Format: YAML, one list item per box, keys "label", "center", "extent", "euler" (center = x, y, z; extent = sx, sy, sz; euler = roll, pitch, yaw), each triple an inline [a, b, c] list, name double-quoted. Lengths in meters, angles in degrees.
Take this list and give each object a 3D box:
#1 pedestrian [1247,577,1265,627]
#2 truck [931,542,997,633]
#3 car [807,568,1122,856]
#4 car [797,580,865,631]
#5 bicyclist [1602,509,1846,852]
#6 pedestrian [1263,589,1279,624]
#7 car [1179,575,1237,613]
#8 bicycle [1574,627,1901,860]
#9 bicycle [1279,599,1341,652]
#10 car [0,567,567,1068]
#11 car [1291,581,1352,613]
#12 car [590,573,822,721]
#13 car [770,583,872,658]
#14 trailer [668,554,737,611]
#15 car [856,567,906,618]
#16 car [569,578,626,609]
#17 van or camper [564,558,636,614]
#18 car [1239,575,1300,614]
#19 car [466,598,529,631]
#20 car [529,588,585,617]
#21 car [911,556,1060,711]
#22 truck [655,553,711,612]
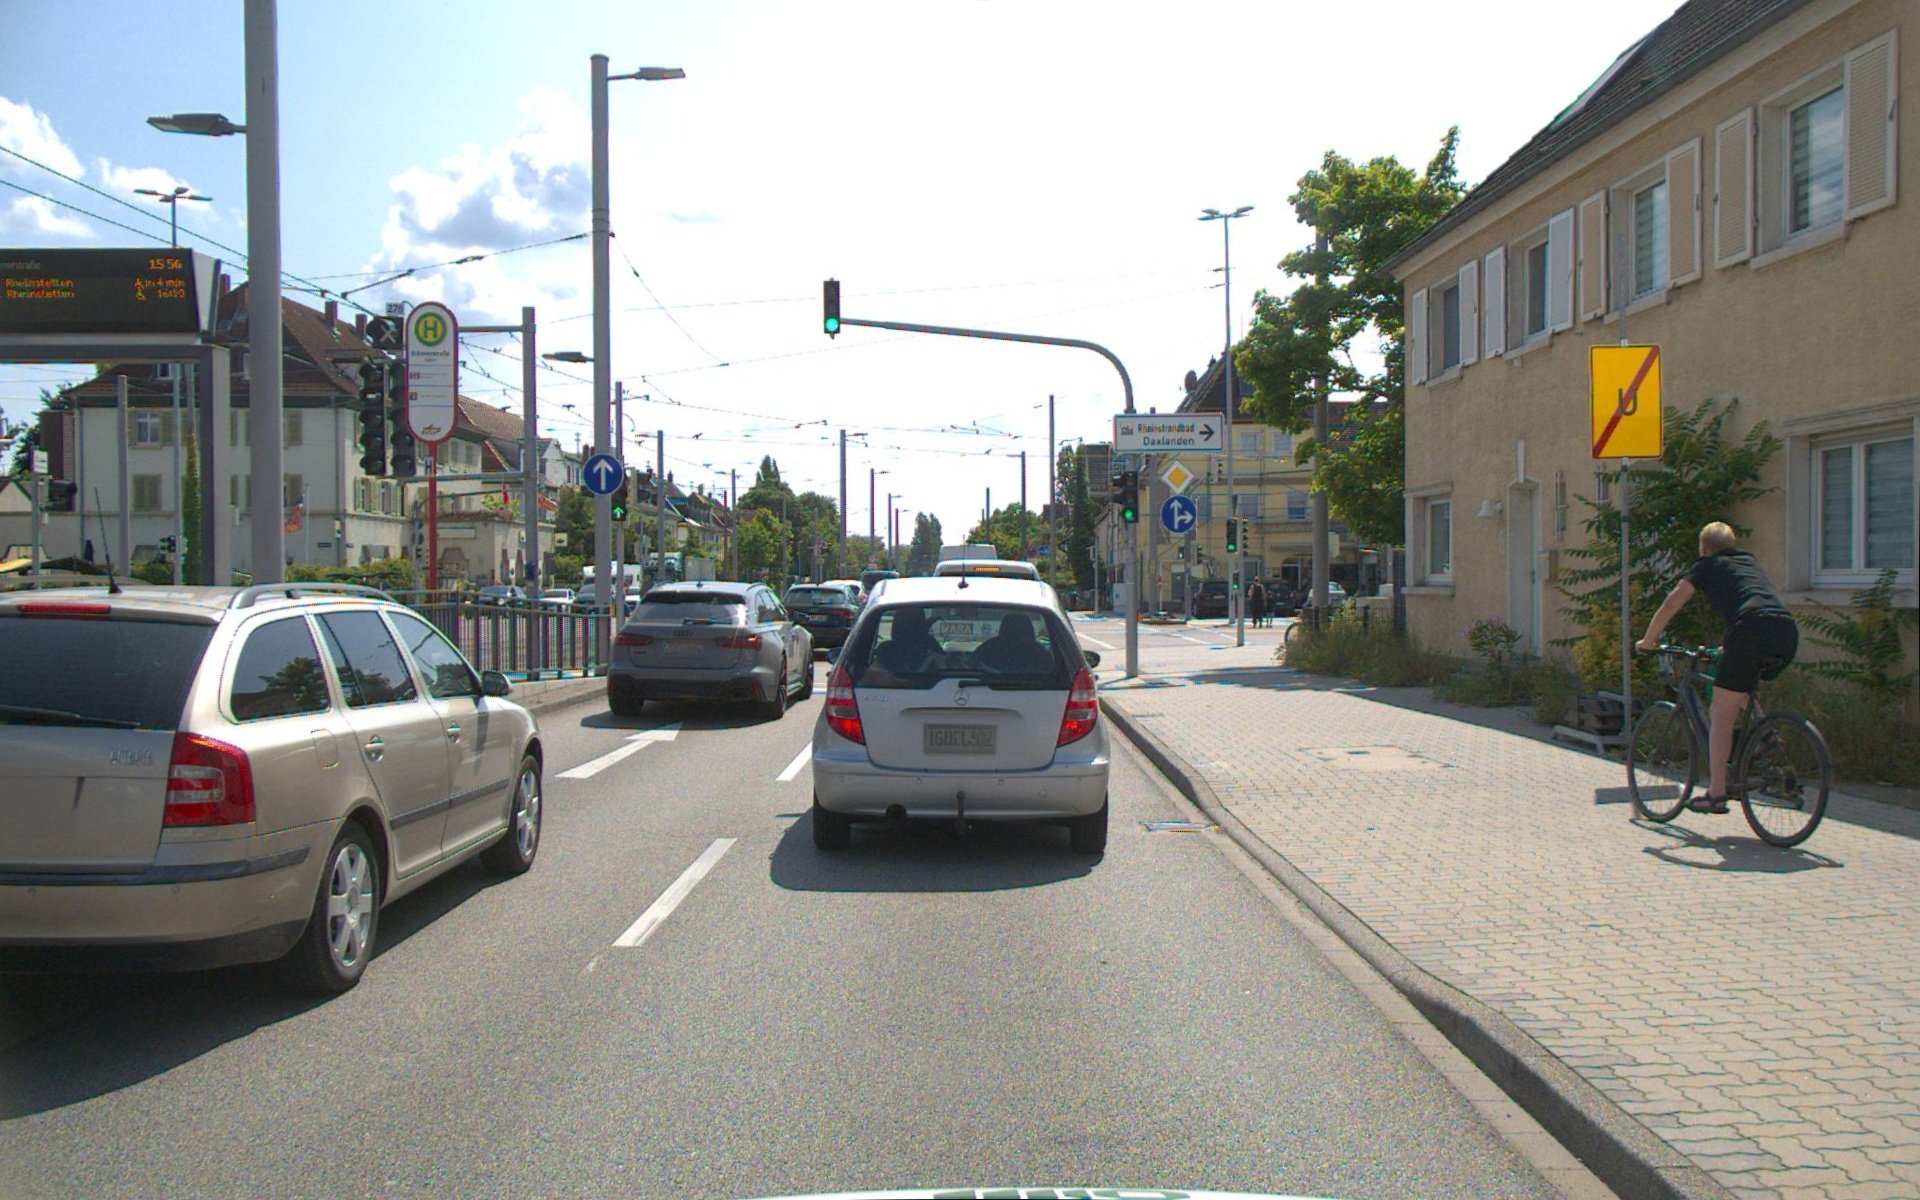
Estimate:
- label: "pedestrian"
  center: [10.010, 0.079, 55.982]
  extent: [0.535, 1.672, 0.401]
  euler: [1, 0, 4]
- label: "truck"
  center: [0.065, -0.368, 51.056]
  extent: [1.815, 2.597, 5.853]
  euler: [1, 0, -2]
- label: "car"
  center: [-0.050, 0.619, 11.048]
  extent: [1.695, 1.543, 4.014]
  euler: [1, 0, -2]
- label: "car"
  center: [-3.788, 0.172, 49.086]
  extent: [1.815, 1.412, 3.917]
  euler: [1, 0, -2]
- label: "bicyclist"
  center: [4.329, 0.422, 9.454]
  extent: [0.812, 1.825, 1.083]
  euler: [-2, 1, -4]
- label: "pedestrian"
  center: [10.536, 0.227, 56.055]
  extent: [0.477, 1.156, 0.389]
  euler: [1, 0, 5]
- label: "car"
  center: [11.115, -0.259, 74.334]
  extent: [1.953, 1.624, 4.131]
  euler: [1, 0, 0]
- label: "bicycle"
  center: [4.342, 0.748, 9.439]
  extent: [0.812, 1.094, 1.969]
  euler: [-2, 1, -4]
- label: "bicycle"
  center: [7.039, 0.518, 33.201]
  extent: [0.455, 1.036, 1.747]
  euler: [1, 0, 39]
- label: "car"
  center: [-2.981, 0.641, 6.975]
  extent: [1.696, 1.474, 4.122]
  euler: [1, 0, -1]
- label: "car"
  center: [16.280, -0.112, 74.580]
  extent: [1.829, 1.375, 4.131]
  euler: [1, 0, 0]
- label: "car"
  center: [-2.842, 0.488, 19.531]
  extent: [1.877, 1.503, 4.563]
  euler: [1, 0, 2]
- label: "car"
  center: [-2.775, 0.397, 33.921]
  extent: [1.815, 1.412, 4.512]
  euler: [1, 0, -2]
- label: "trailer"
  center: [-18.910, -1.368, 122.312]
  extent: [2.545, 3.887, 12.841]
  euler: [-3, 1, 2]
- label: "car"
  center: [-3.027, -0.268, 63.856]
  extent: [1.815, 1.875, 3.917]
  euler: [1, 0, -2]
- label: "car"
  center: [-16.707, -0.300, 76.423]
  extent: [1.650, 1.375, 4.178]
  euler: [1, 0, 0]
- label: "van or camper"
  center: [-20.114, -0.779, 92.894]
  extent: [2.276, 2.981, 7.755]
  euler: [-1, 0, 0]
- label: "car"
  center: [13.882, -0.238, 74.461]
  extent: [1.953, 1.624, 4.131]
  euler: [1, 0, 0]
- label: "car"
  center: [-20.412, 0.635, 73.146]
  extent: [1.650, 1.375, 4.344]
  euler: [1, 0, -1]
- label: "car"
  center: [-20.176, 0.118, 82.927]
  extent: [1.650, 1.375, 4.345]
  euler: [1, 0, 0]
- label: "car"
  center: [0.243, 0.400, 21.614]
  extent: [1.695, 1.793, 4.014]
  euler: [1, 0, -2]
- label: "truck"
  center: [-19.208, -1.217, 115.074]
  extent: [2.545, 3.887, 5.669]
  euler: [-3, 1, 2]
